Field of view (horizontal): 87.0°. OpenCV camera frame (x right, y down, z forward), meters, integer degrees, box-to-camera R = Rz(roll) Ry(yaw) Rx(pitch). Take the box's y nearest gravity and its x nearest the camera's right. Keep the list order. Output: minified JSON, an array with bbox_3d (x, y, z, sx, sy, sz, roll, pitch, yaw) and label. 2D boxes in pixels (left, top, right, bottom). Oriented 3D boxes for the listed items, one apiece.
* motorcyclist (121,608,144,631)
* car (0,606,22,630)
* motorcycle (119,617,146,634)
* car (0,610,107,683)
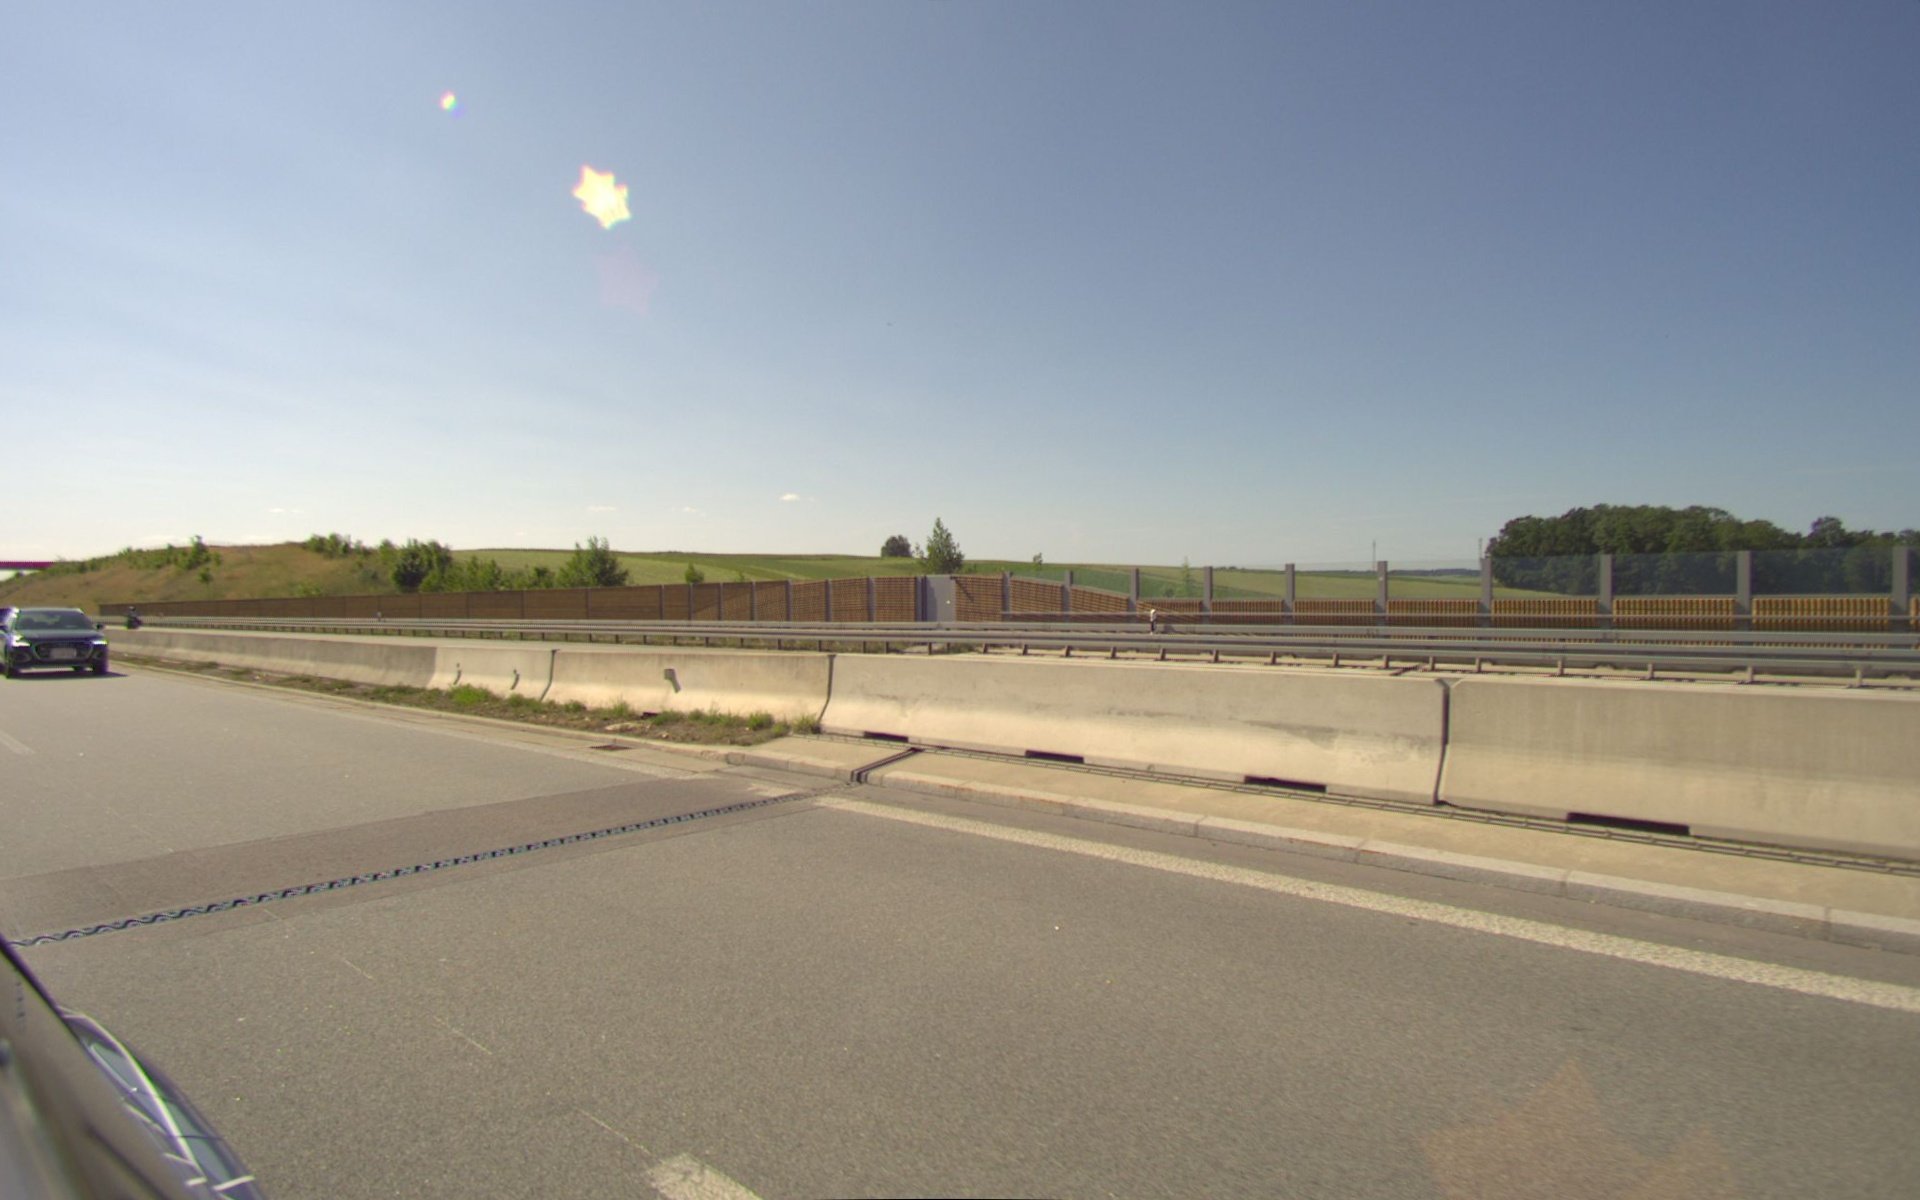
[{"bbox_3d":[-56.785,1.344,69.430,1.428,1.575,1.002,-1,-1,41],"label":"motorcyclist"},{"bbox_3d":[-81.187,1.536,85.768,5.735,2.029,1.972,-1,-1,42],"label":"car"},{"bbox_3d":[-56.747,1.761,69.389,2.867,1.176,1.002,-1,-2,42],"label":"motorcycle"},{"bbox_3d":[-22.347,1.064,24.635,5.220,1.600,1.703,-1,-1,42],"label":"car"}]
